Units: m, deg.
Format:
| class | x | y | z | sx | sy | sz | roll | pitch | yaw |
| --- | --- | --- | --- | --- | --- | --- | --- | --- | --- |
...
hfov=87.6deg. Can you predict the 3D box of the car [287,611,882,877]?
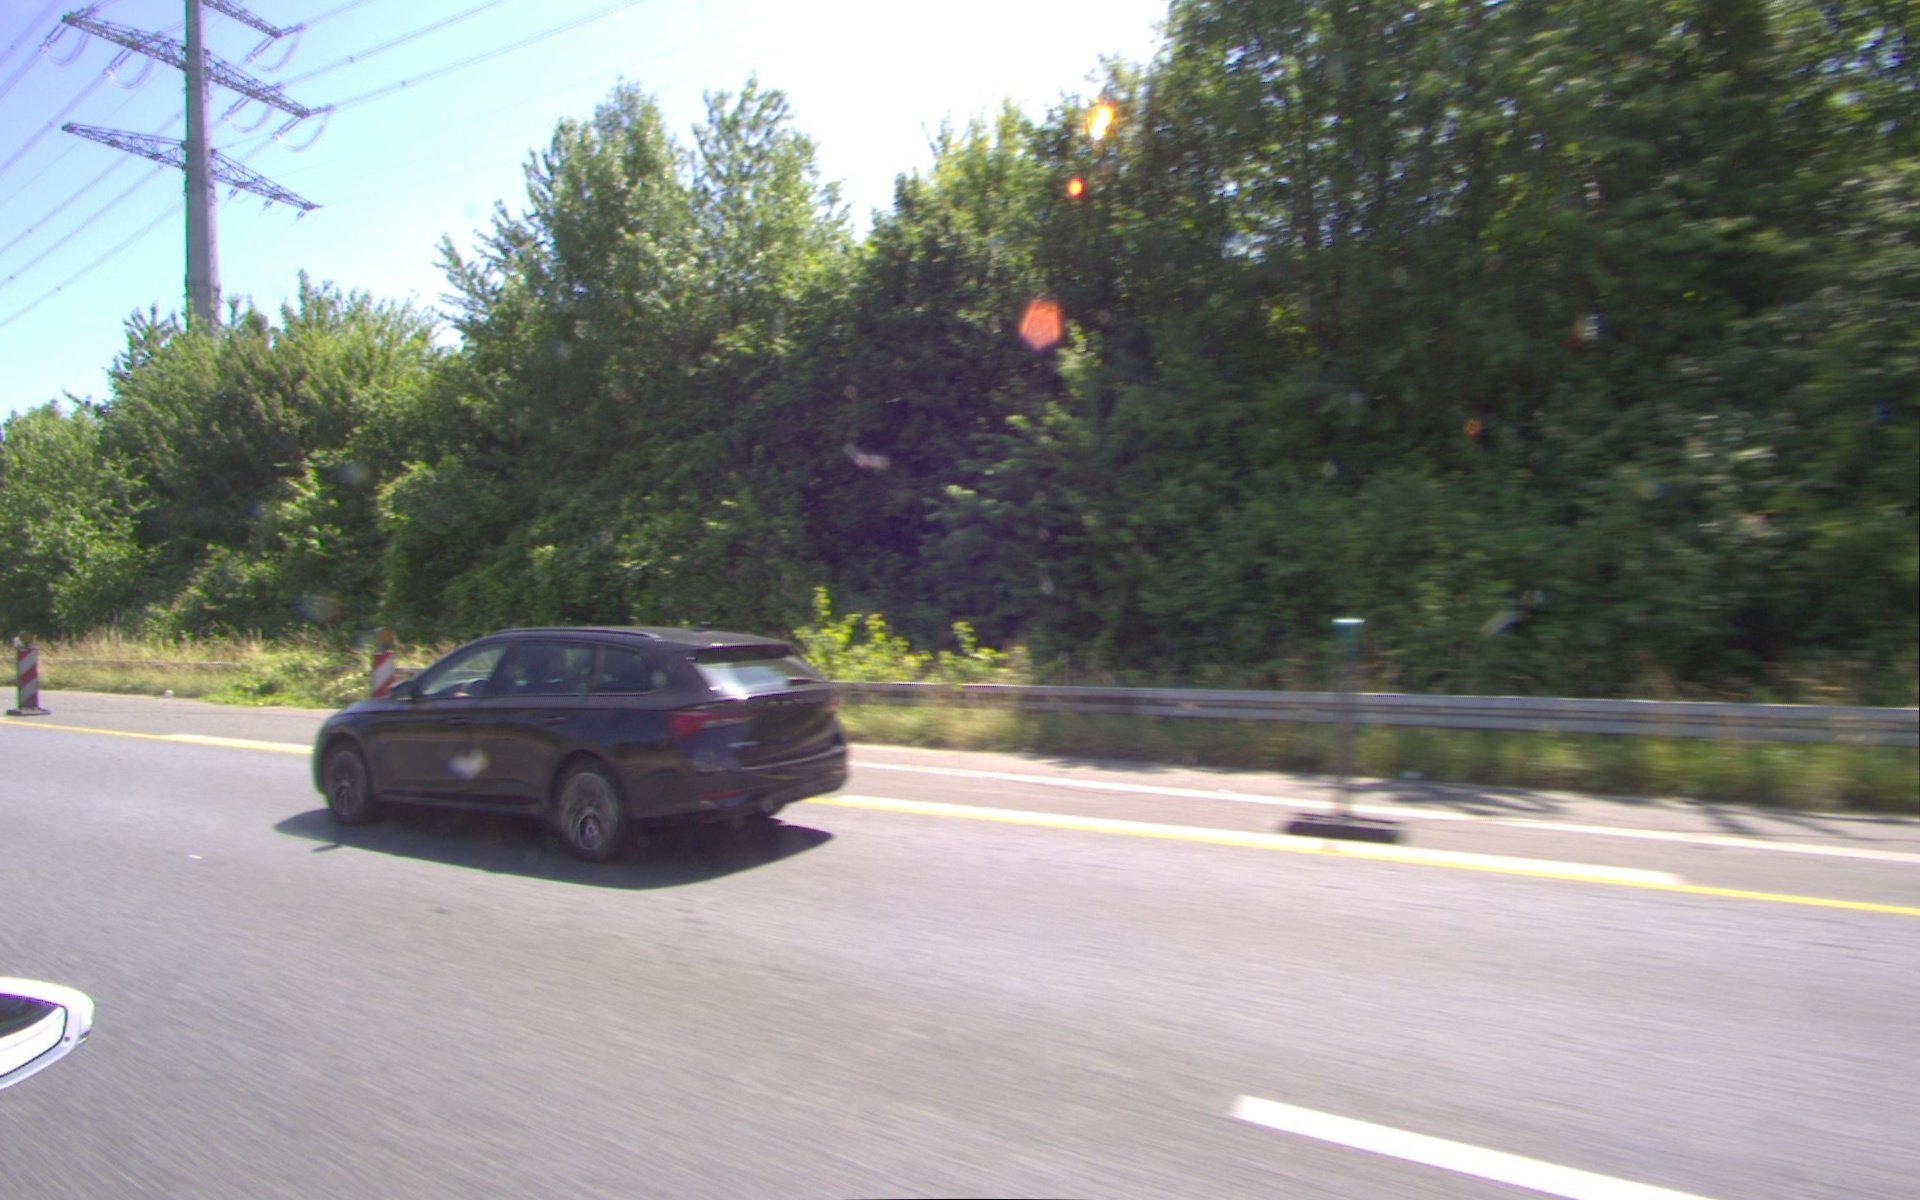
| class | x | y | z | sx | sy | sz | roll | pitch | yaw |
| --- | --- | --- | --- | --- | --- | --- | --- | --- | --- |
| car | -2.903 | 0.881 | 7.531 | 4.396 | 1.508 | 1.778 | -1 | -2 | 29 |
